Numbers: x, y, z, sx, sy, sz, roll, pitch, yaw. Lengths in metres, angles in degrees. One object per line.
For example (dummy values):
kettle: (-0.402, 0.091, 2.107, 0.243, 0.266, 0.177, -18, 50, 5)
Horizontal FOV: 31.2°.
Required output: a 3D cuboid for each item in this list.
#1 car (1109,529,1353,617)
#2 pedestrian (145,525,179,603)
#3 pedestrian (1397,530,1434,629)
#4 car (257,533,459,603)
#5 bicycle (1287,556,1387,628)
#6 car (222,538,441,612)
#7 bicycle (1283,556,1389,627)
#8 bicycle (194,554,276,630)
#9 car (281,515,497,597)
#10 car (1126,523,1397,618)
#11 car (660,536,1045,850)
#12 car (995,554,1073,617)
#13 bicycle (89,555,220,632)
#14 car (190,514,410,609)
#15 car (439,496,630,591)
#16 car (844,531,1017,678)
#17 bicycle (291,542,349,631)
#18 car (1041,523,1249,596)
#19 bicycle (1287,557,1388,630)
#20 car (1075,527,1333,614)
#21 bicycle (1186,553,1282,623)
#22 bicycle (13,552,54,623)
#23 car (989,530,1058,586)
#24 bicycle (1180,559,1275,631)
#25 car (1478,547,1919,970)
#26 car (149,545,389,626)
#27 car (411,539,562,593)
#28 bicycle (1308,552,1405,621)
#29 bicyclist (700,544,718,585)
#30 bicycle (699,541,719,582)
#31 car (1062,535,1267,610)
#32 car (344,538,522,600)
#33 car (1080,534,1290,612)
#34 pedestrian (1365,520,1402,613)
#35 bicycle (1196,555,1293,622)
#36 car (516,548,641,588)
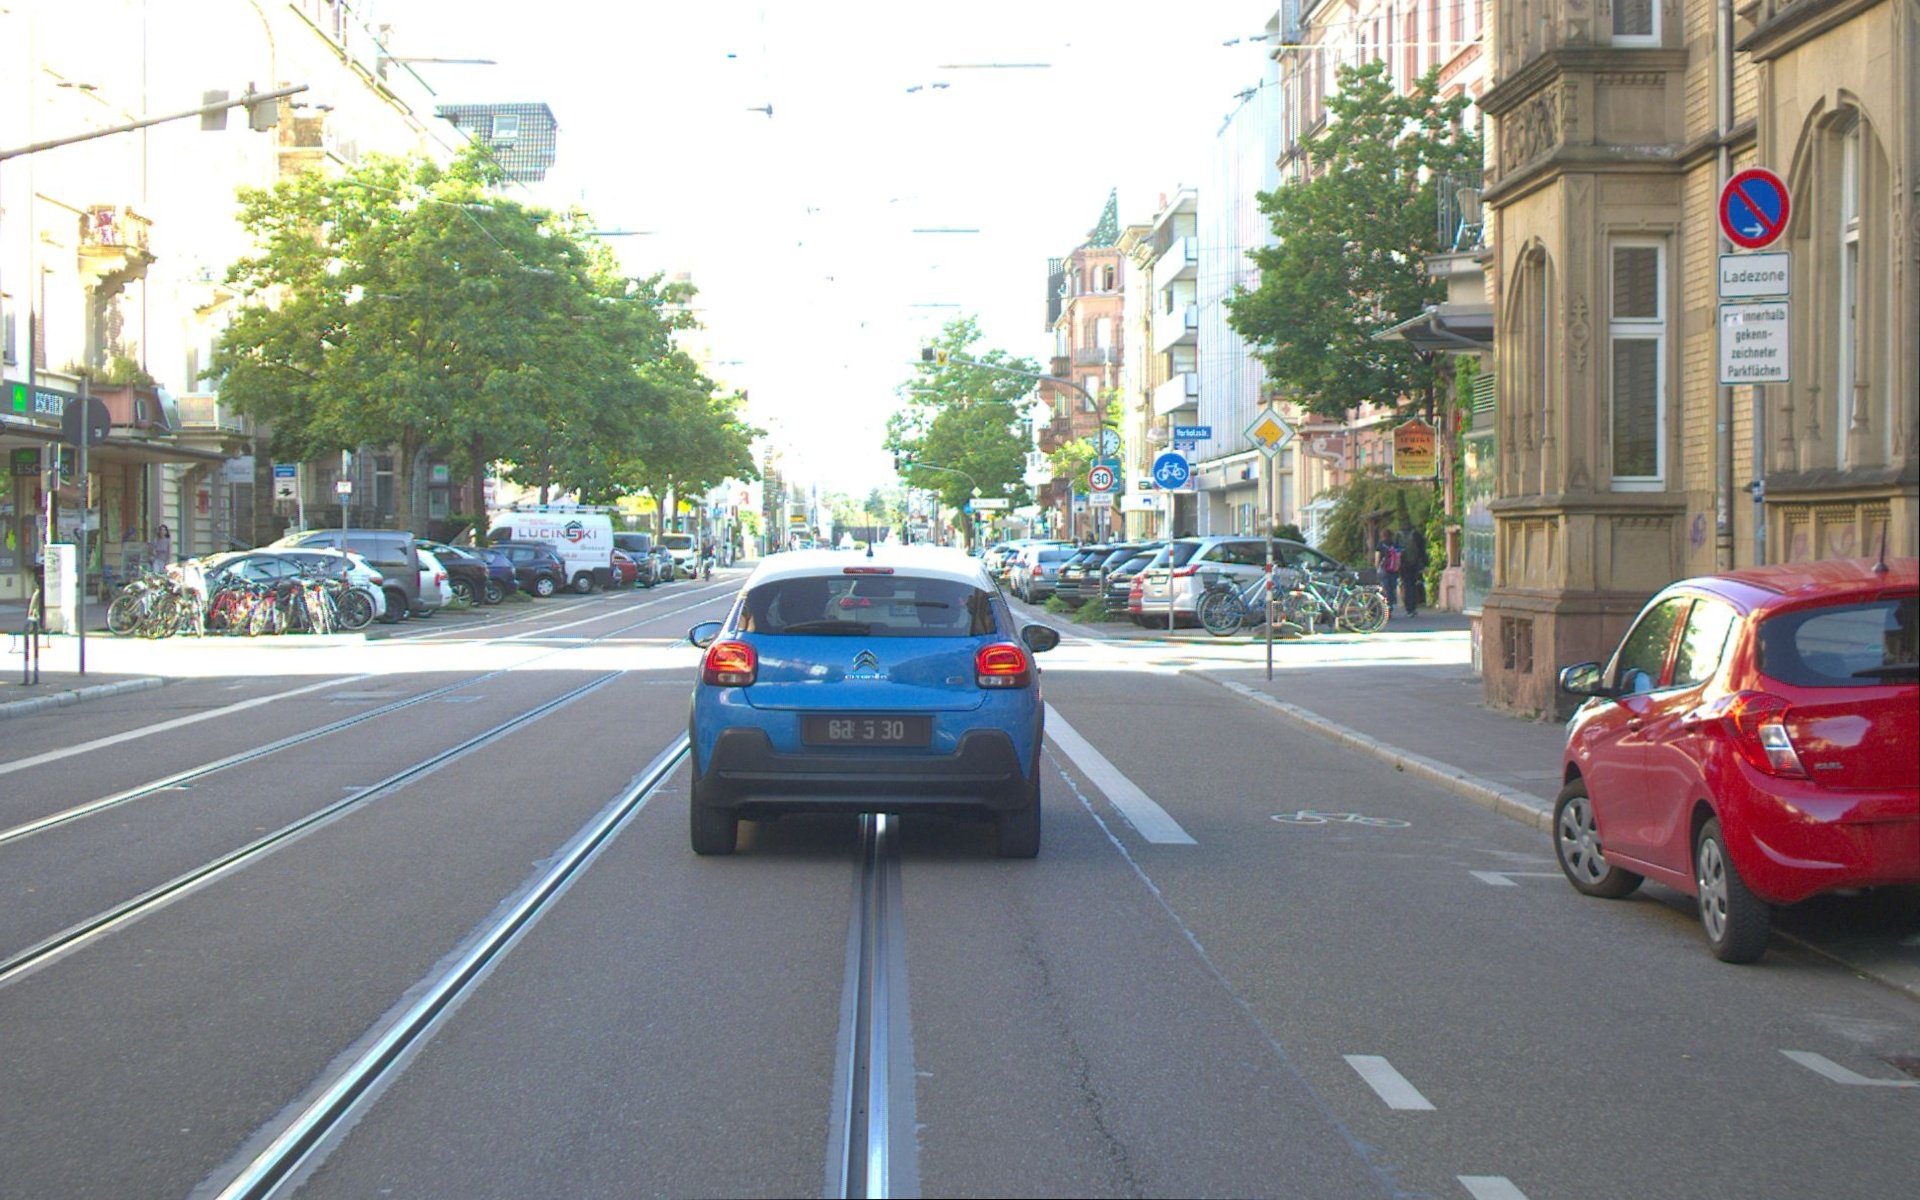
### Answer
car: (4.931, -0.486, 62.642, 3.986, 1.531, 1.919, 1, 1, -25)
pedestrian: (-16.990, -0.763, 73.171, 0.569, 1.647, 0.641, 1, 0, -1)
pedestrian: (8.221, -0.370, 62.103, 0.518, 1.772, 0.864, 1, 0, -1)
car: (-12.726, -0.676, 72.673, 3.831, 1.425, 1.766, 0, 1, -27)
bicycle: (6.004, -0.127, 54.774, 1.556, 1.123, 0.528, 1, 0, 6)
car: (-12.674, -0.494, 69.396, 4.006, 1.444, 1.699, 0, 1, -33)
bicycle: (6.043, -0.138, 55.355, 1.675, 1.123, 0.551, 1, 0, 6)
bicycle: (-11.644, -0.134, 55.191, 0.681, 1.119, 1.888, -1, 3, -32)
car: (-12.867, -0.985, 77.498, 4.353, 1.777, 1.996, 0, 1, -33)
car: (5.268, -0.507, 59.994, 4.350, 1.590, 1.854, 1, 1, -25)
car: (-0.541, 0.412, 17.699, 1.762, 1.436, 3.557, 1, 1, -1)
car: (1.919, -0.391, 90.643, 1.873, 1.590, 4.719, 1, 1, -1)
bicycle: (-12.813, -0.119, 54.647, 2.433, 1.105, 0.682, 3, 4, 39)
car: (-12.793, -0.738, 66.666, 3.810, 1.778, 1.797, 0, 1, -29)
car: (-12.731, -1.683, 103.066, 5.370, 2.739, 1.806, 0, 1, -31)
car: (-0.348, 0.027, 39.722, 1.873, 1.590, 4.000, 1, 1, -1)
bicycle: (-10.314, -0.228, 55.471, 0.681, 1.315, 2.436, 1, 3, -5)
car: (4.221, -0.914, 78.464, 4.302, 1.590, 1.983, 1, 1, -25)
bicycle: (5.947, -0.110, 54.185, 1.556, 1.123, 0.551, 1, 0, 6)
car: (4.664, -0.552, 65.653, 4.433, 1.590, 2.089, 1, 1, -25)
bicycle: (4.515, -0.198, 56.705, 1.560, 1.123, 0.294, 1, 0, 6)
bicycle: (-14.841, -0.203, 55.032, 0.403, 1.106, 1.838, 0, 1, -22)
car: (1.857, -1.246, 101.282, 1.873, 1.590, 4.000, 1, 1, -1)
bicycle: (4.242, -0.087, 54.563, 1.397, 1.123, 0.551, 1, 0, -8)
car: (3.580, 0.548, 14.792, 1.865, 1.477, 4.401, -3, 1, -1)
car: (-12.259, -0.253, 61.033, 3.780, 1.395, 1.755, 0, 1, -34)
car: (-13.396, -0.962, 97.228, 3.986, 1.484, 1.807, 1, 1, -17)
bicycle: (6.540, -0.226, 56.768, 1.556, 1.123, 0.551, 1, 0, 6)
bicyclist: (-10.168, -1.436, 139.283, 0.634, 1.676, 0.727, 1, 0, -1)
bicycle: (-10.155, -1.557, 139.157, 0.680, 1.673, 2.097, 1, 1, -1)
car: (4.520, -0.600, 75.890, 3.986, 1.590, 2.088, 1, 1, -25)
car: (-13.138, -0.777, 85.697, 3.986, 1.484, 1.806, 0, 1, -29)
car: (4.777, -0.566, 72.977, 3.986, 1.590, 1.960, 1, 1, -25)
pedestrian: (7.611, -0.602, 61.760, 0.518, 1.643, 0.864, 1, 0, -1)
bicycle: (4.662, -0.191, 56.323, 1.556, 1.075, 0.307, 1, 0, 6)
car: (-12.589, -1.055, 113.457, 3.796, 1.261, 1.516, 0, 1, -26)
